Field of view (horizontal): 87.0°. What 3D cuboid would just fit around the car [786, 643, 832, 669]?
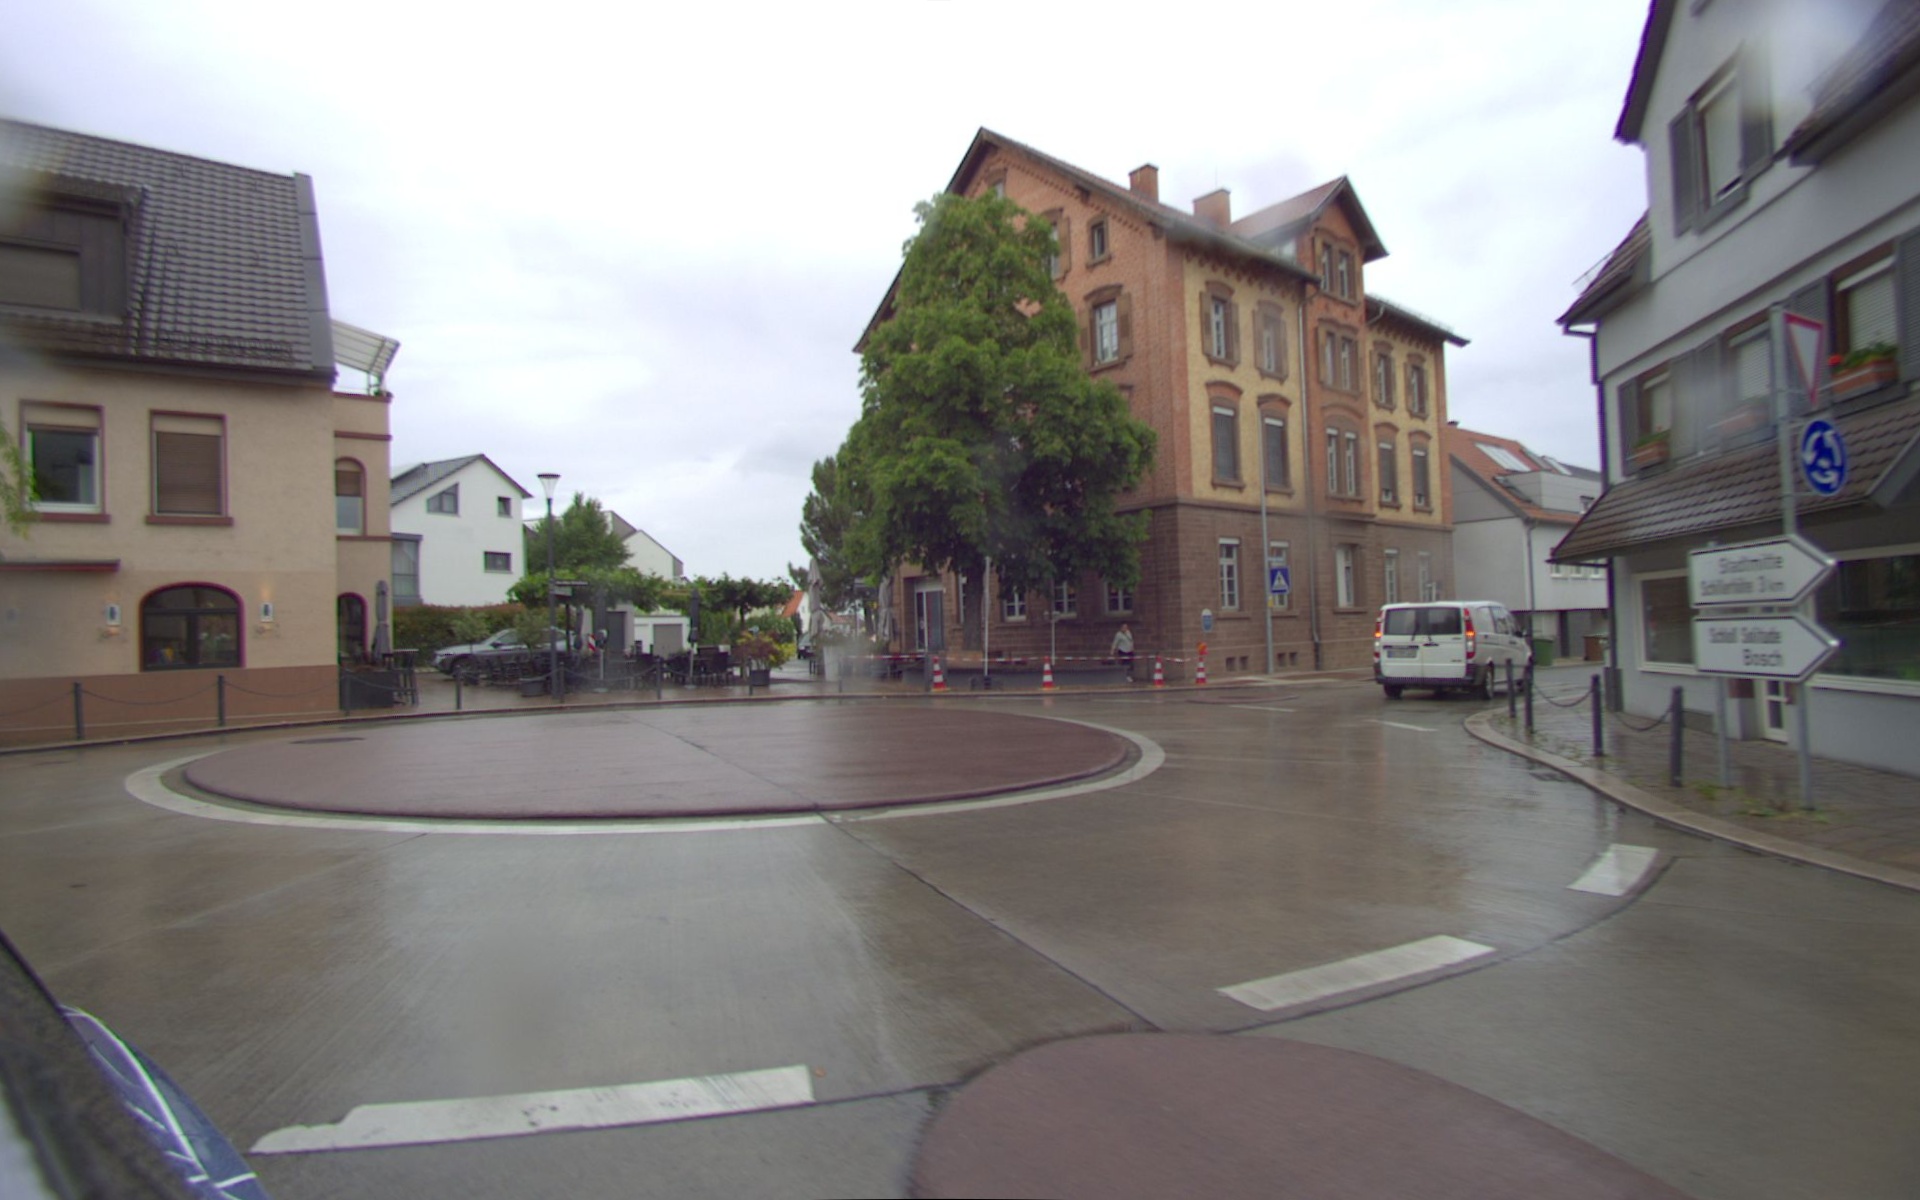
[{"bbox_3d":[-8.713,3.198,58.245,1.842,1.453,4.012,1,-3,-20],"label":"car"}]

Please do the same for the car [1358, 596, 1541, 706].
[{"bbox_3d":[9.858,1.003,20.160,2.158,1.913,4.859,-2,-4,40],"label":"car"}]

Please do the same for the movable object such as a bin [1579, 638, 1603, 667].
[{"bbox_3d":[25.758,2.135,41.317,0.770,1.178,0.657,2,-2,-45],"label":"movable object such as a bin"}]

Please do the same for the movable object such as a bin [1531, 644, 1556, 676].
[{"bbox_3d":[22.004,2.245,38.168,0.750,1.182,0.629,2,-2,-45],"label":"movable object such as a bin"}]

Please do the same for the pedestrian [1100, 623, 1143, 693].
[{"bbox_3d":[4.447,1.582,27.887,0.812,1.901,0.844,2,-2,-42],"label":"pedestrian"}]

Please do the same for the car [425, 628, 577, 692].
[{"bbox_3d":[-15.290,1.973,33.779,4.411,2.029,2.006,1,-3,-30],"label":"car"}]
